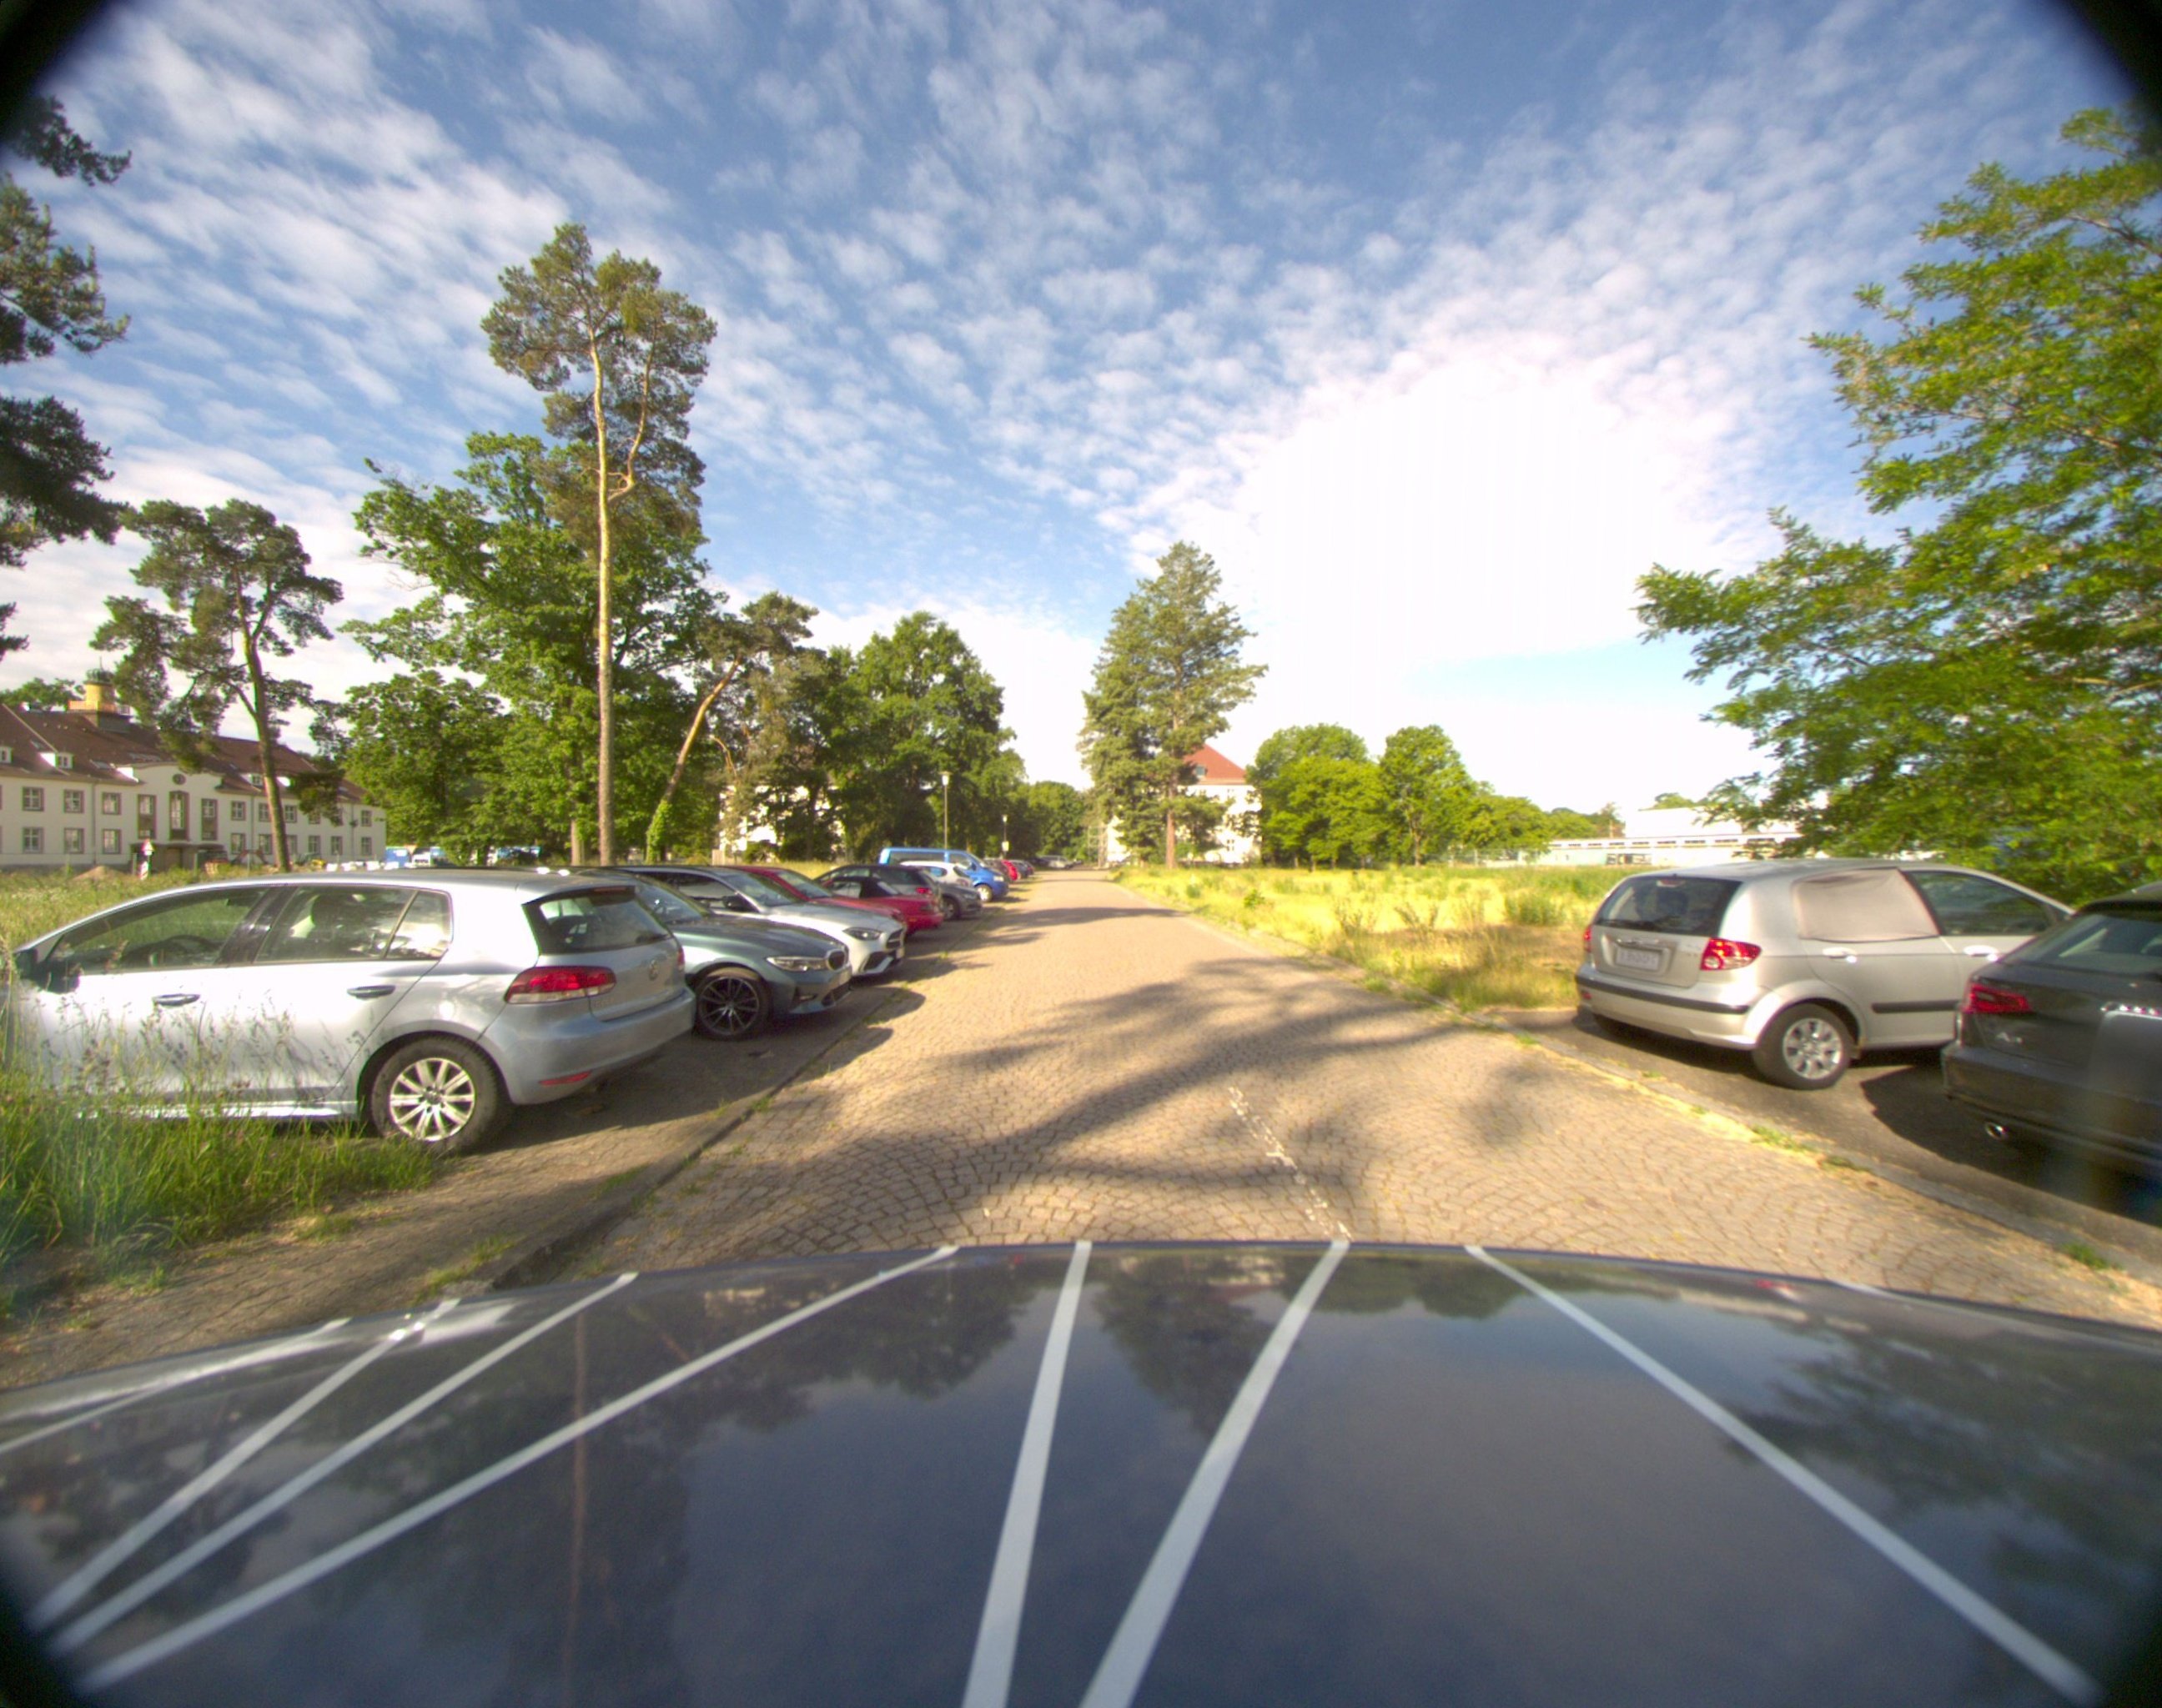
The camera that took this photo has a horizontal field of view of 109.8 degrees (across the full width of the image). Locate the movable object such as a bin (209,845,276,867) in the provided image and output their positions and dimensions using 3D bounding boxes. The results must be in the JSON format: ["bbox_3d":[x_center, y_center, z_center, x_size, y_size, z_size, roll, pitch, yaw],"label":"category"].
[{"bbox_3d":[-92.119,0.177,83.583,1.999,2.309,4.984,0,0,-4],"label":"movable object such as a bin"}]

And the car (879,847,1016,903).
[{"bbox_3d":[-4.891,0.740,28.290,4.727,2.002,2.000,0,0,0],"label":"car"}]

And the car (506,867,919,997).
[{"bbox_3d":[-4.509,0.942,9.845,4.423,1.394,1.825,1,0,-2],"label":"car"}]

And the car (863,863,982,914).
[{"bbox_3d":[-4.735,1.021,22.909,3.264,1.482,1.449,0,0,1],"label":"car"}]

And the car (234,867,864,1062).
[{"bbox_3d":[-4.530,0.932,7.110,4.508,1.508,1.825,1,0,-4],"label":"car"}]

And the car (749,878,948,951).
[{"bbox_3d":[-4.321,1.113,14.452,3.357,1.248,1.419,0,0,-2],"label":"car"}]

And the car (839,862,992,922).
[{"bbox_3d":[-4.324,0.960,20.063,3.621,1.482,1.509,0,0,9],"label":"car"}]

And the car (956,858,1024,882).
[{"bbox_3d":[-5.656,0.984,47.575,3.996,1.509,1.757,0,0,2],"label":"car"}]

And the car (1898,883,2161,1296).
[{"bbox_3d":[5.967,0.851,2.959,3.807,1.462,1.687,-3,1,-2],"label":"car"}]

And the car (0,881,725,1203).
[{"bbox_3d":[-4.597,0.944,4.566,4.026,1.452,1.870,1,0,-2],"label":"car"}]

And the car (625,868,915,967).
[{"bbox_3d":[-4.802,0.967,12.145,3.918,1.385,1.660,1,0,-2],"label":"car"}]

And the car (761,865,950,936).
[{"bbox_3d":[-4.952,1.003,17.047,3.780,1.482,1.549,0,0,-2],"label":"car"}]

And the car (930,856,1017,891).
[{"bbox_3d":[-5.227,0.943,37.223,3.996,1.630,1.757,0,0,2],"label":"car"}]

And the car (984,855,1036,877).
[{"bbox_3d":[-5.797,0.987,62.416,3.996,1.605,1.757,-3,1,3],"label":"car"}]

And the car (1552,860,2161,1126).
[{"bbox_3d":[5.752,0.873,5.656,3.475,1.462,1.636,-3,1,-4],"label":"car"}]

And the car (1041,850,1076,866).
[{"bbox_3d":[-3.245,0.582,111.268,5.069,2.251,2.000,0,0,-1],"label":"car"}]

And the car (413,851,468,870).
[{"bbox_3d":[-70.030,0.677,83.191,1.998,2.002,4.772,0,0,0],"label":"car"}]

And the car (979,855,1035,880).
[{"bbox_3d":[-5.571,1.035,57.766,3.996,1.731,1.757,-2,0,2],"label":"car"}]
